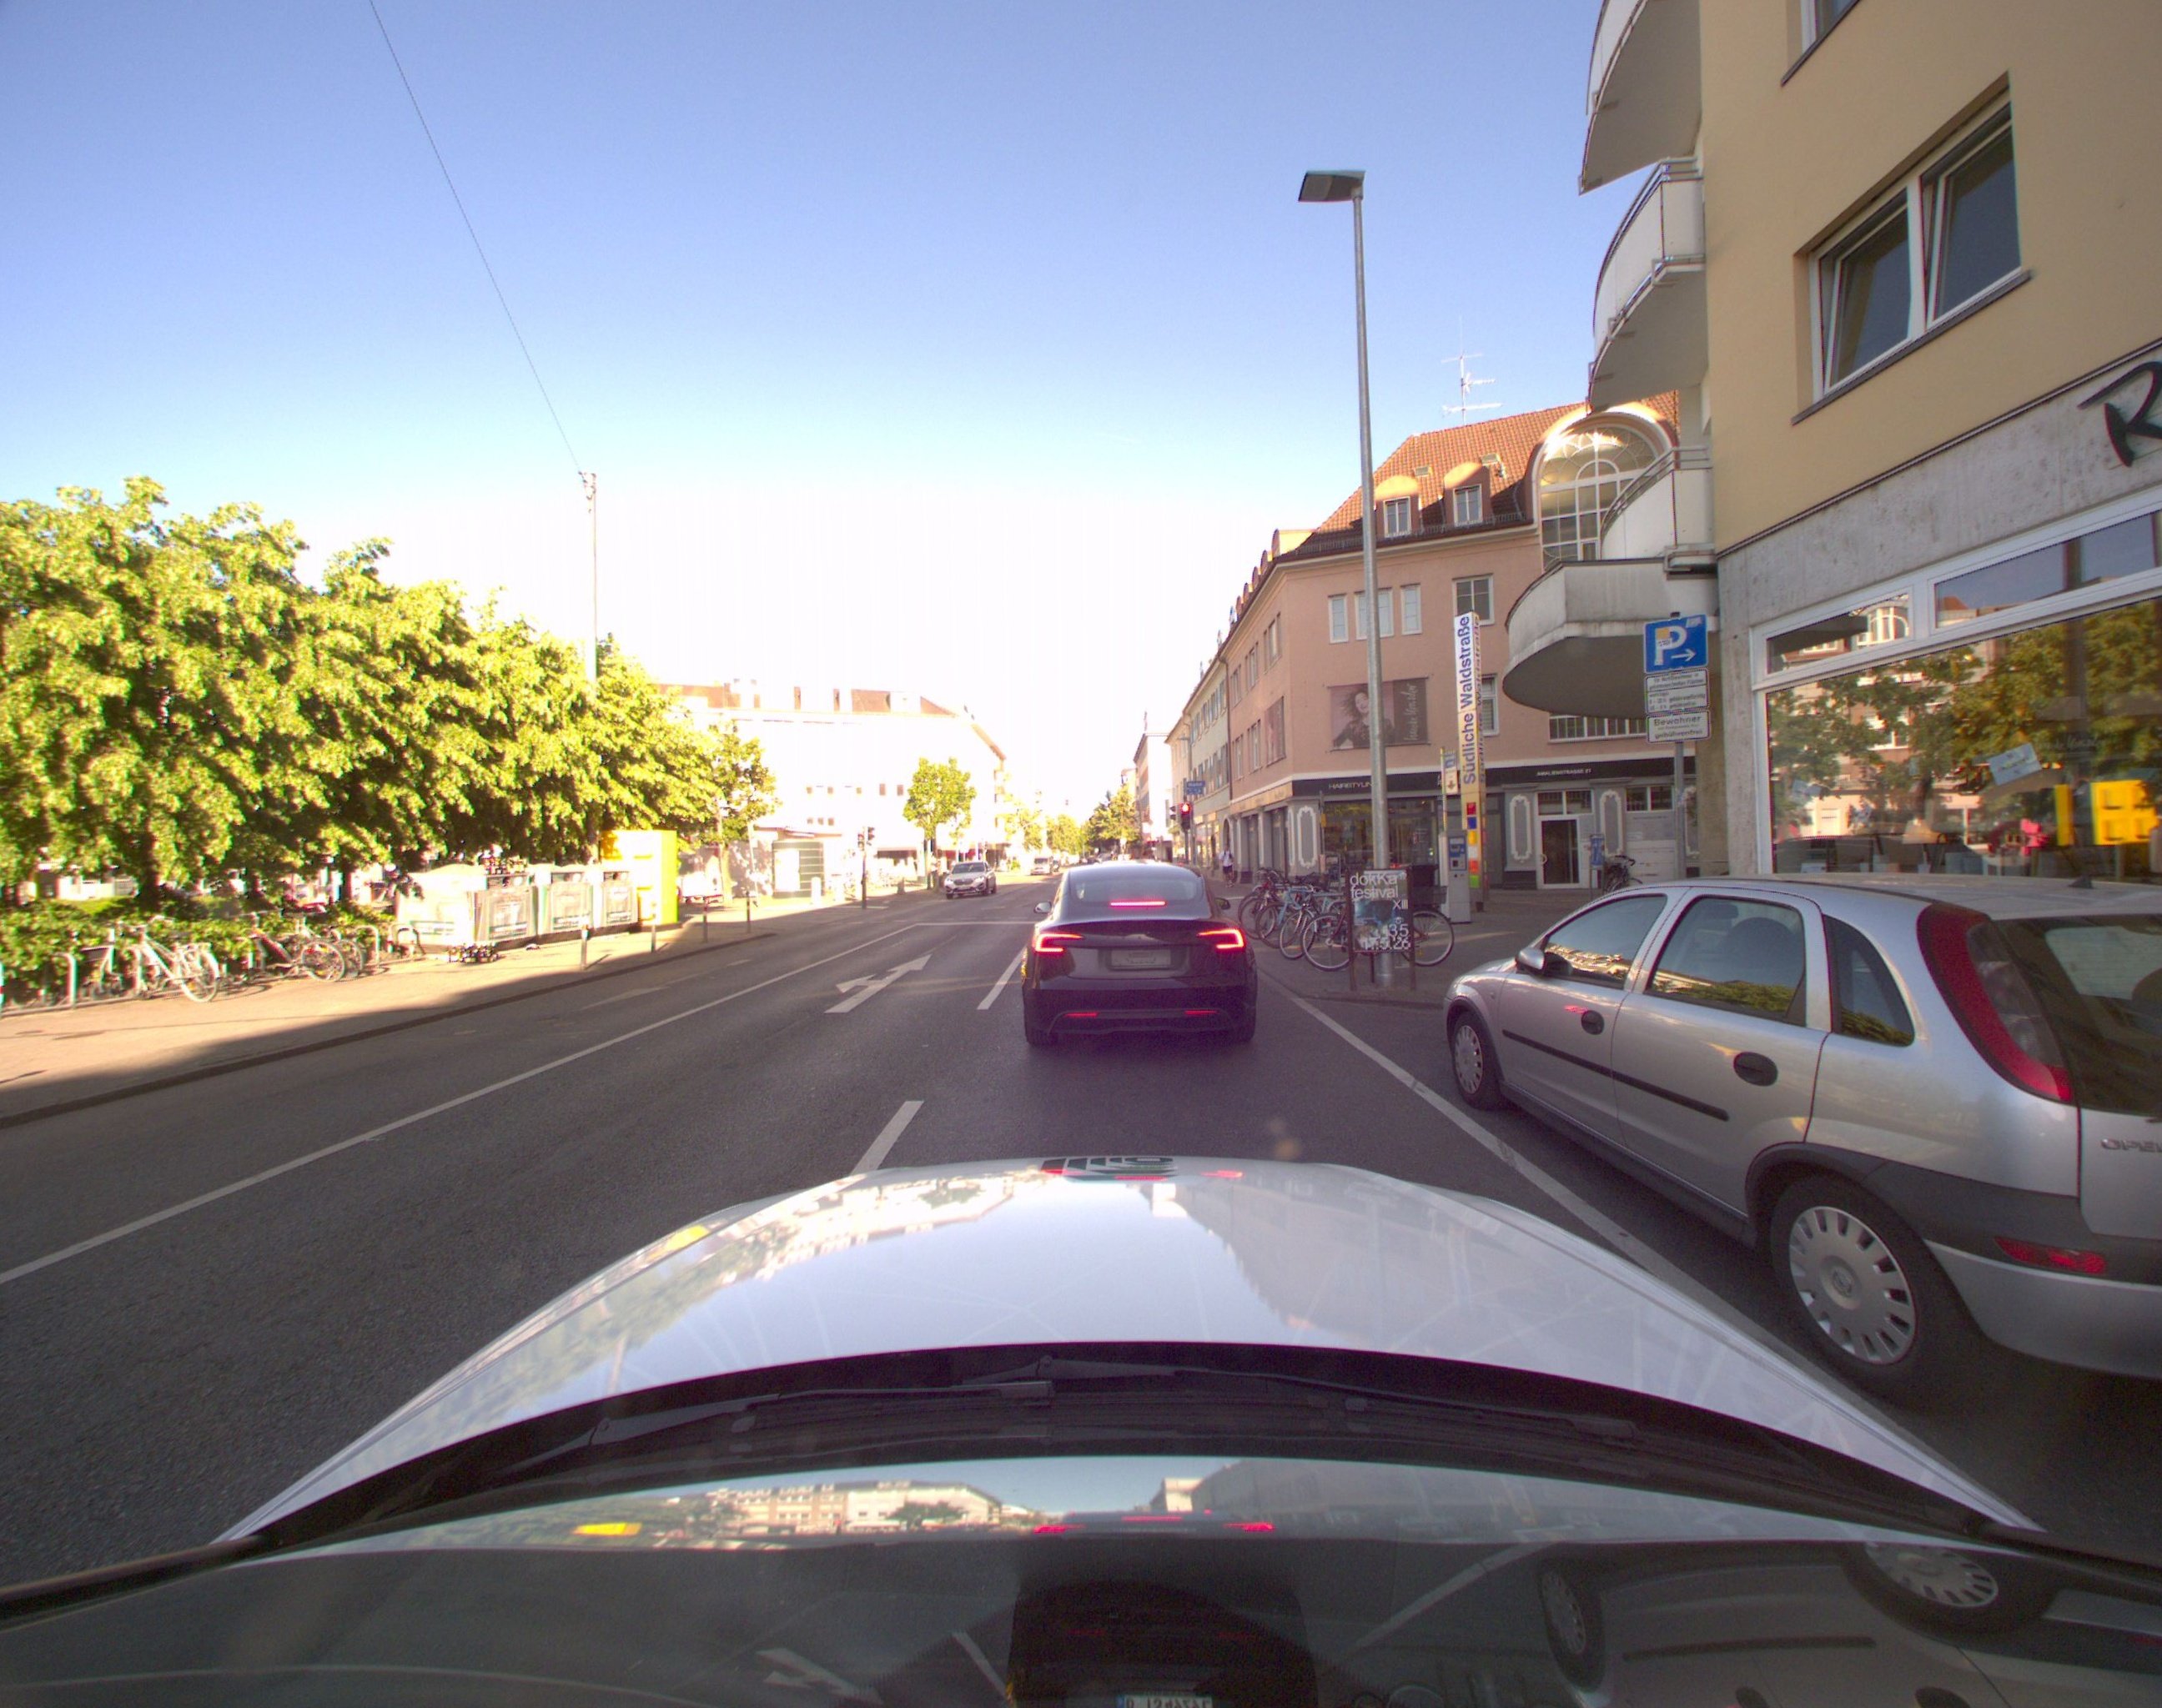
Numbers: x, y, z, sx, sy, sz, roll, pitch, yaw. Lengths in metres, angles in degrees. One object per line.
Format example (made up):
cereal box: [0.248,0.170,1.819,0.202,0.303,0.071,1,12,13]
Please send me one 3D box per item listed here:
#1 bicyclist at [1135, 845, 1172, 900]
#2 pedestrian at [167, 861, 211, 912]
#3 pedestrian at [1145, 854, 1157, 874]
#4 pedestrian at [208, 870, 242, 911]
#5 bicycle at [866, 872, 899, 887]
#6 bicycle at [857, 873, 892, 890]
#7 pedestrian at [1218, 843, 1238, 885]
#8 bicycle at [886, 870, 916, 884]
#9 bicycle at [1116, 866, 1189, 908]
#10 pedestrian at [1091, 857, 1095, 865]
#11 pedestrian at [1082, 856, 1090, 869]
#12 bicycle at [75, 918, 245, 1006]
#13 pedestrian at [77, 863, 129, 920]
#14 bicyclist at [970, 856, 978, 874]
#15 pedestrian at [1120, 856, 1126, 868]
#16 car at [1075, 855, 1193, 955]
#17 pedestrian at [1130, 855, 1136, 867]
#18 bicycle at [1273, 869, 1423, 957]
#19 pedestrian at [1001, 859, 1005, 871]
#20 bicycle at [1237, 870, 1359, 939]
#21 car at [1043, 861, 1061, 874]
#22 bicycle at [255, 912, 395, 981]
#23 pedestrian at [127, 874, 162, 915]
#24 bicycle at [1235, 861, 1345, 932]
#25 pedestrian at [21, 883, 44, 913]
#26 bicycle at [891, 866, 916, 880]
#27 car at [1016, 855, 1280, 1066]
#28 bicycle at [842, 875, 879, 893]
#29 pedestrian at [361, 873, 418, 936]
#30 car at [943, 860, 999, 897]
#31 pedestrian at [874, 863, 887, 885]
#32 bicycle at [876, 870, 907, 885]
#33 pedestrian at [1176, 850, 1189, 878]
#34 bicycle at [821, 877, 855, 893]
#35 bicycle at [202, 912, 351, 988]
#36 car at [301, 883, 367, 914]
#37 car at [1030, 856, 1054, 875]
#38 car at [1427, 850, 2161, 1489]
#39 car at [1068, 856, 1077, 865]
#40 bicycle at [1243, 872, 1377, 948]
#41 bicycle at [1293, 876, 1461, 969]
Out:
bicyclist: [2.022,0.506,22.612,0.884,1.482,0.704,-2,-1,12]
pedestrian: [-36.198,1.303,33.056,0.890,2.013,0.893,-1,0,15]
pedestrian: [5.926,0.856,69.280,0.756,1.631,0.951,0,-1,-16]
pedestrian: [-36.743,1.560,34.962,0.754,1.698,0.793,-1,0,25]
bicycle: [-12.260,1.564,50.311,1.857,0.934,0.606,0,-1,0]
bicycle: [-12.135,1.618,47.832,1.857,0.934,0.606,0,-1,0]
pedestrian: [6.314,0.432,35.045,0.747,1.765,0.838,-2,-1,6]
bicycle: [-12.188,1.554,55.163,1.857,0.934,0.606,-1,0,0]
bicycle: [1.995,0.910,22.615,1.921,1.118,0.711,-1,-1,12]
pedestrian: [3.043,1.706,207.469,0.927,2.014,0.939,0,-1,1]
pedestrian: [0.703,1.109,106.940,0.719,1.695,0.843,-1,0,-26]
bicycle: [-11.626,1.341,10.284,1.919,1.015,0.518,-1,-1,12]
pedestrian: [-35.229,1.340,29.343,0.890,2.013,0.893,-1,0,15]
bicyclist: [-8.728,0.910,66.437,0.525,1.503,0.473,0,-1,-22]
pedestrian: [4.983,0.892,95.850,0.474,1.417,0.517,0,-1,-29]
car: [0.792,0.749,13.882,1.712,1.425,3.757,-1,0,0]
pedestrian: [6.075,0.852,95.854,0.524,1.422,0.475,0,-1,-28]
bicycle: [3.648,0.806,11.201,1.864,1.087,0.415,-3,-1,5]
pedestrian: [-9.478,1.291,98.806,0.459,1.460,0.517,-1,0,-3]
bicycle: [3.602,0.838,13.605,1.863,1.038,0.548,-3,-1,7]
car: [-3.293,1.510,93.049,1.709,1.446,3.846,0,-1,2]
bicycle: [-11.324,1.373,12.208,1.888,0.955,0.518,-1,-1,11]
pedestrian: [-47.521,2.051,41.336,0.889,2.013,0.894,-2,0,22]
bicycle: [3.775,0.760,14.795,1.818,1.169,0.507,-3,-1,7]
pedestrian: [-77.946,3.271,60.553,0.891,2.171,0.882,-1,-1,26]
bicycle: [-17.109,1.822,78.560,2.373,1.296,0.509,0,-1,-25]
car: [0.532,0.760,7.697,1.815,1.442,4.001,-1,-1,2]
bicycle: [-12.355,1.686,45.660,1.857,0.934,0.606,-1,0,0]
pedestrian: [-22.683,1.637,26.725,1.051,2.014,0.971,0,-1,-10]
car: [-4.857,1.047,36.470,1.782,1.460,3.759,-4,-1,2]
pedestrian: [-18.560,1.852,75.367,1.060,2.014,1.049,0,-1,-18]
bicycle: [-12.268,1.535,52.714,1.857,0.934,0.606,-1,0,0]
pedestrian: [6.584,0.650,52.827,0.704,1.742,0.540,-1,0,1]
bicycle: [-12.841,1.635,43.087,1.640,0.792,0.606,0,-1,-3]
bicycle: [-11.506,1.348,11.651,1.913,1.003,0.518,-1,-1,11]
car: [-36.715,2.149,40.000,3.526,1.386,1.703,-1,0,36]
car: [-3.541,1.013,74.735,1.780,1.646,4.404,-1,0,2]
car: [2.949,0.702,3.521,1.540,1.390,3.479,-1,-1,3]
car: [-1.920,1.417,187.401,1.986,2.013,4.001,-1,0,2]
bicycle: [3.491,0.851,12.513,1.864,1.038,0.534,-3,-1,5]
bicycle: [3.616,0.837,10.027,1.862,1.038,0.354,-3,-1,8]
